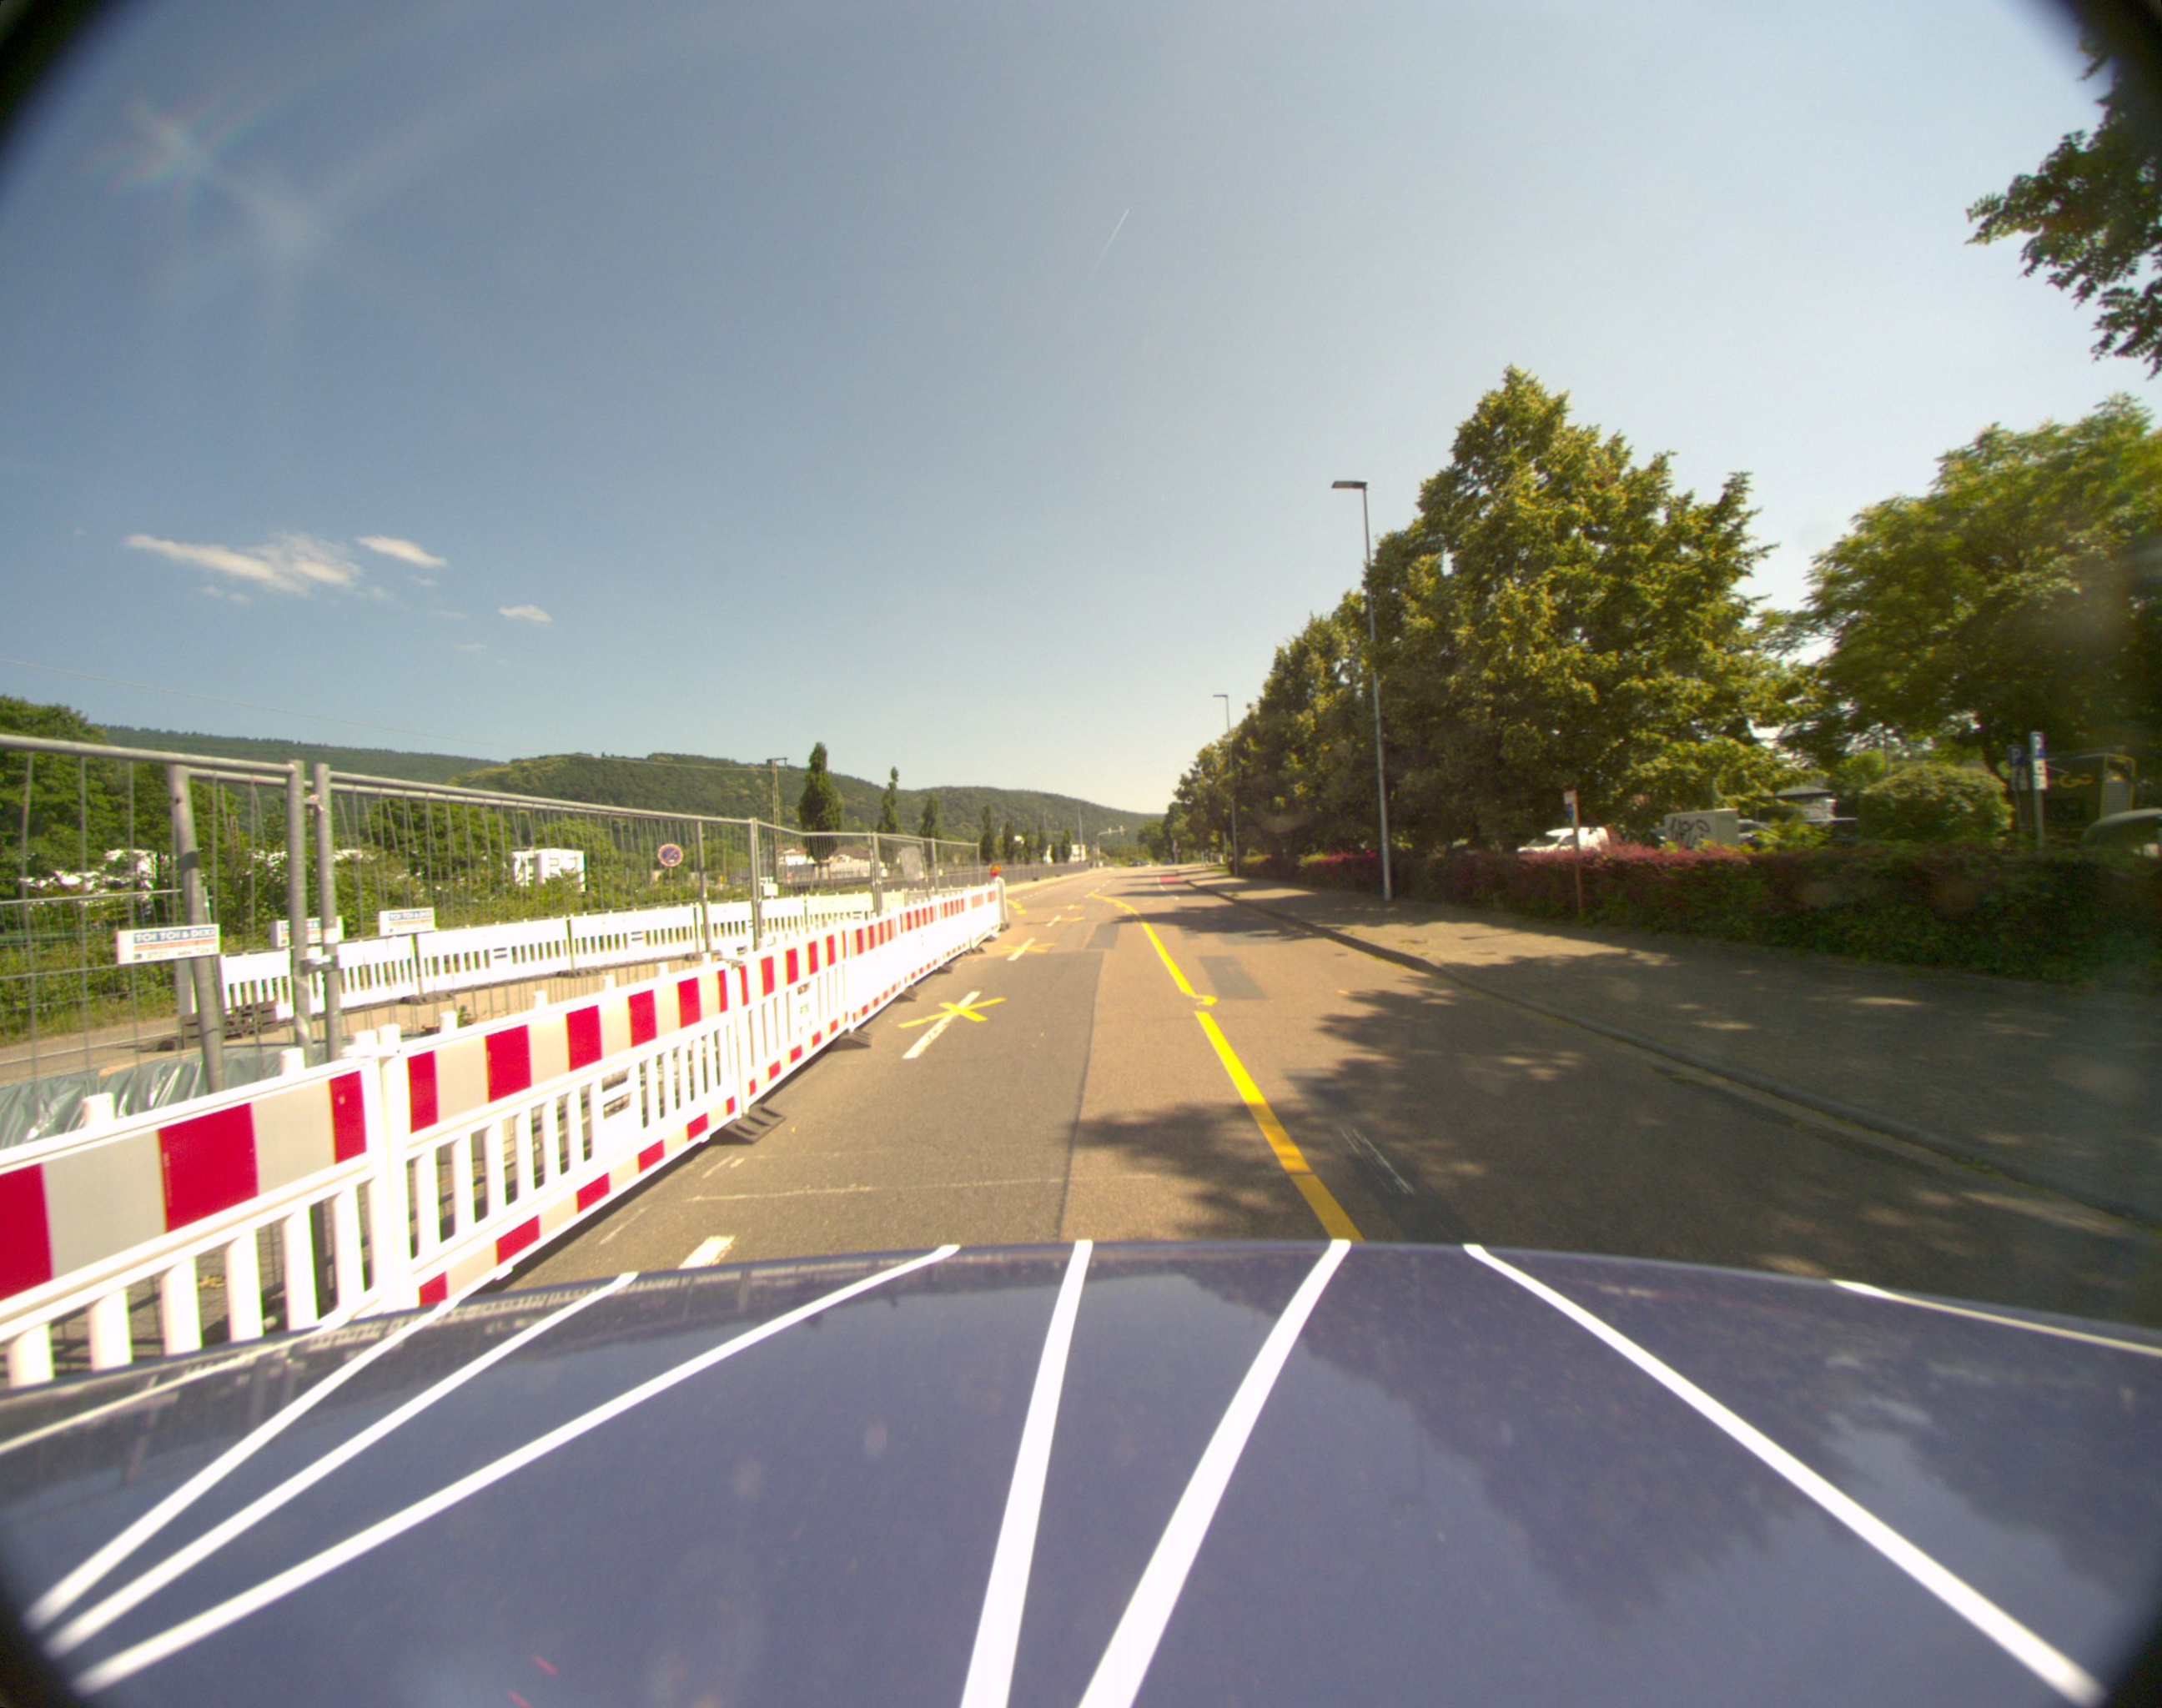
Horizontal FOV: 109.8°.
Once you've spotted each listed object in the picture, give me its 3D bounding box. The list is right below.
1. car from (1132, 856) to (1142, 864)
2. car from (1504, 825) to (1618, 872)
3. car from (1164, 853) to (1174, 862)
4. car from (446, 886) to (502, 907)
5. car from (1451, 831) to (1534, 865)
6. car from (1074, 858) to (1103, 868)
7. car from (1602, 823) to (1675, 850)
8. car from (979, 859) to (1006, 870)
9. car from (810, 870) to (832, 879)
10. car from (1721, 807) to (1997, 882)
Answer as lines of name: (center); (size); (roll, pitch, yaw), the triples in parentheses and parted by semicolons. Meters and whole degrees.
car: (9.950, 1.039, 134.461); (1.609, 1.248, 3.684); (-3, 0, 4)
car: (21.508, -0.228, 34.065); (4.356, 1.816, 1.747); (-3, -1, -15)
car: (16.299, 0.656, 141.161); (1.609, 1.526, 3.684); (-3, 0, 4)
car: (-82.810, 5.752, 103.716); (2.132, 2.090, 5.523); (-8, 0, 16)
car: (24.516, -0.323, 45.477); (1.761, 1.788, 4.222); (-4, 0, -19)
car: (1.259, 1.506, 125.093); (4.359, 1.338, 1.834); (-3, 3, 32)
car: (38.761, -1.226, 52.864); (3.989, 1.584, 1.931); (-3, 0, 37)
car: (-15.772, 1.852, 135.198); (4.359, 1.618, 1.834); (-3, 3, 32)
car: (-54.770, 4.335, 160.141); (4.359, 1.483, 1.834); (-3, 3, 33)
car: (19.466, -0.213, 19.460); (2.072, 1.551, 5.031); (-3, 0, 4)
